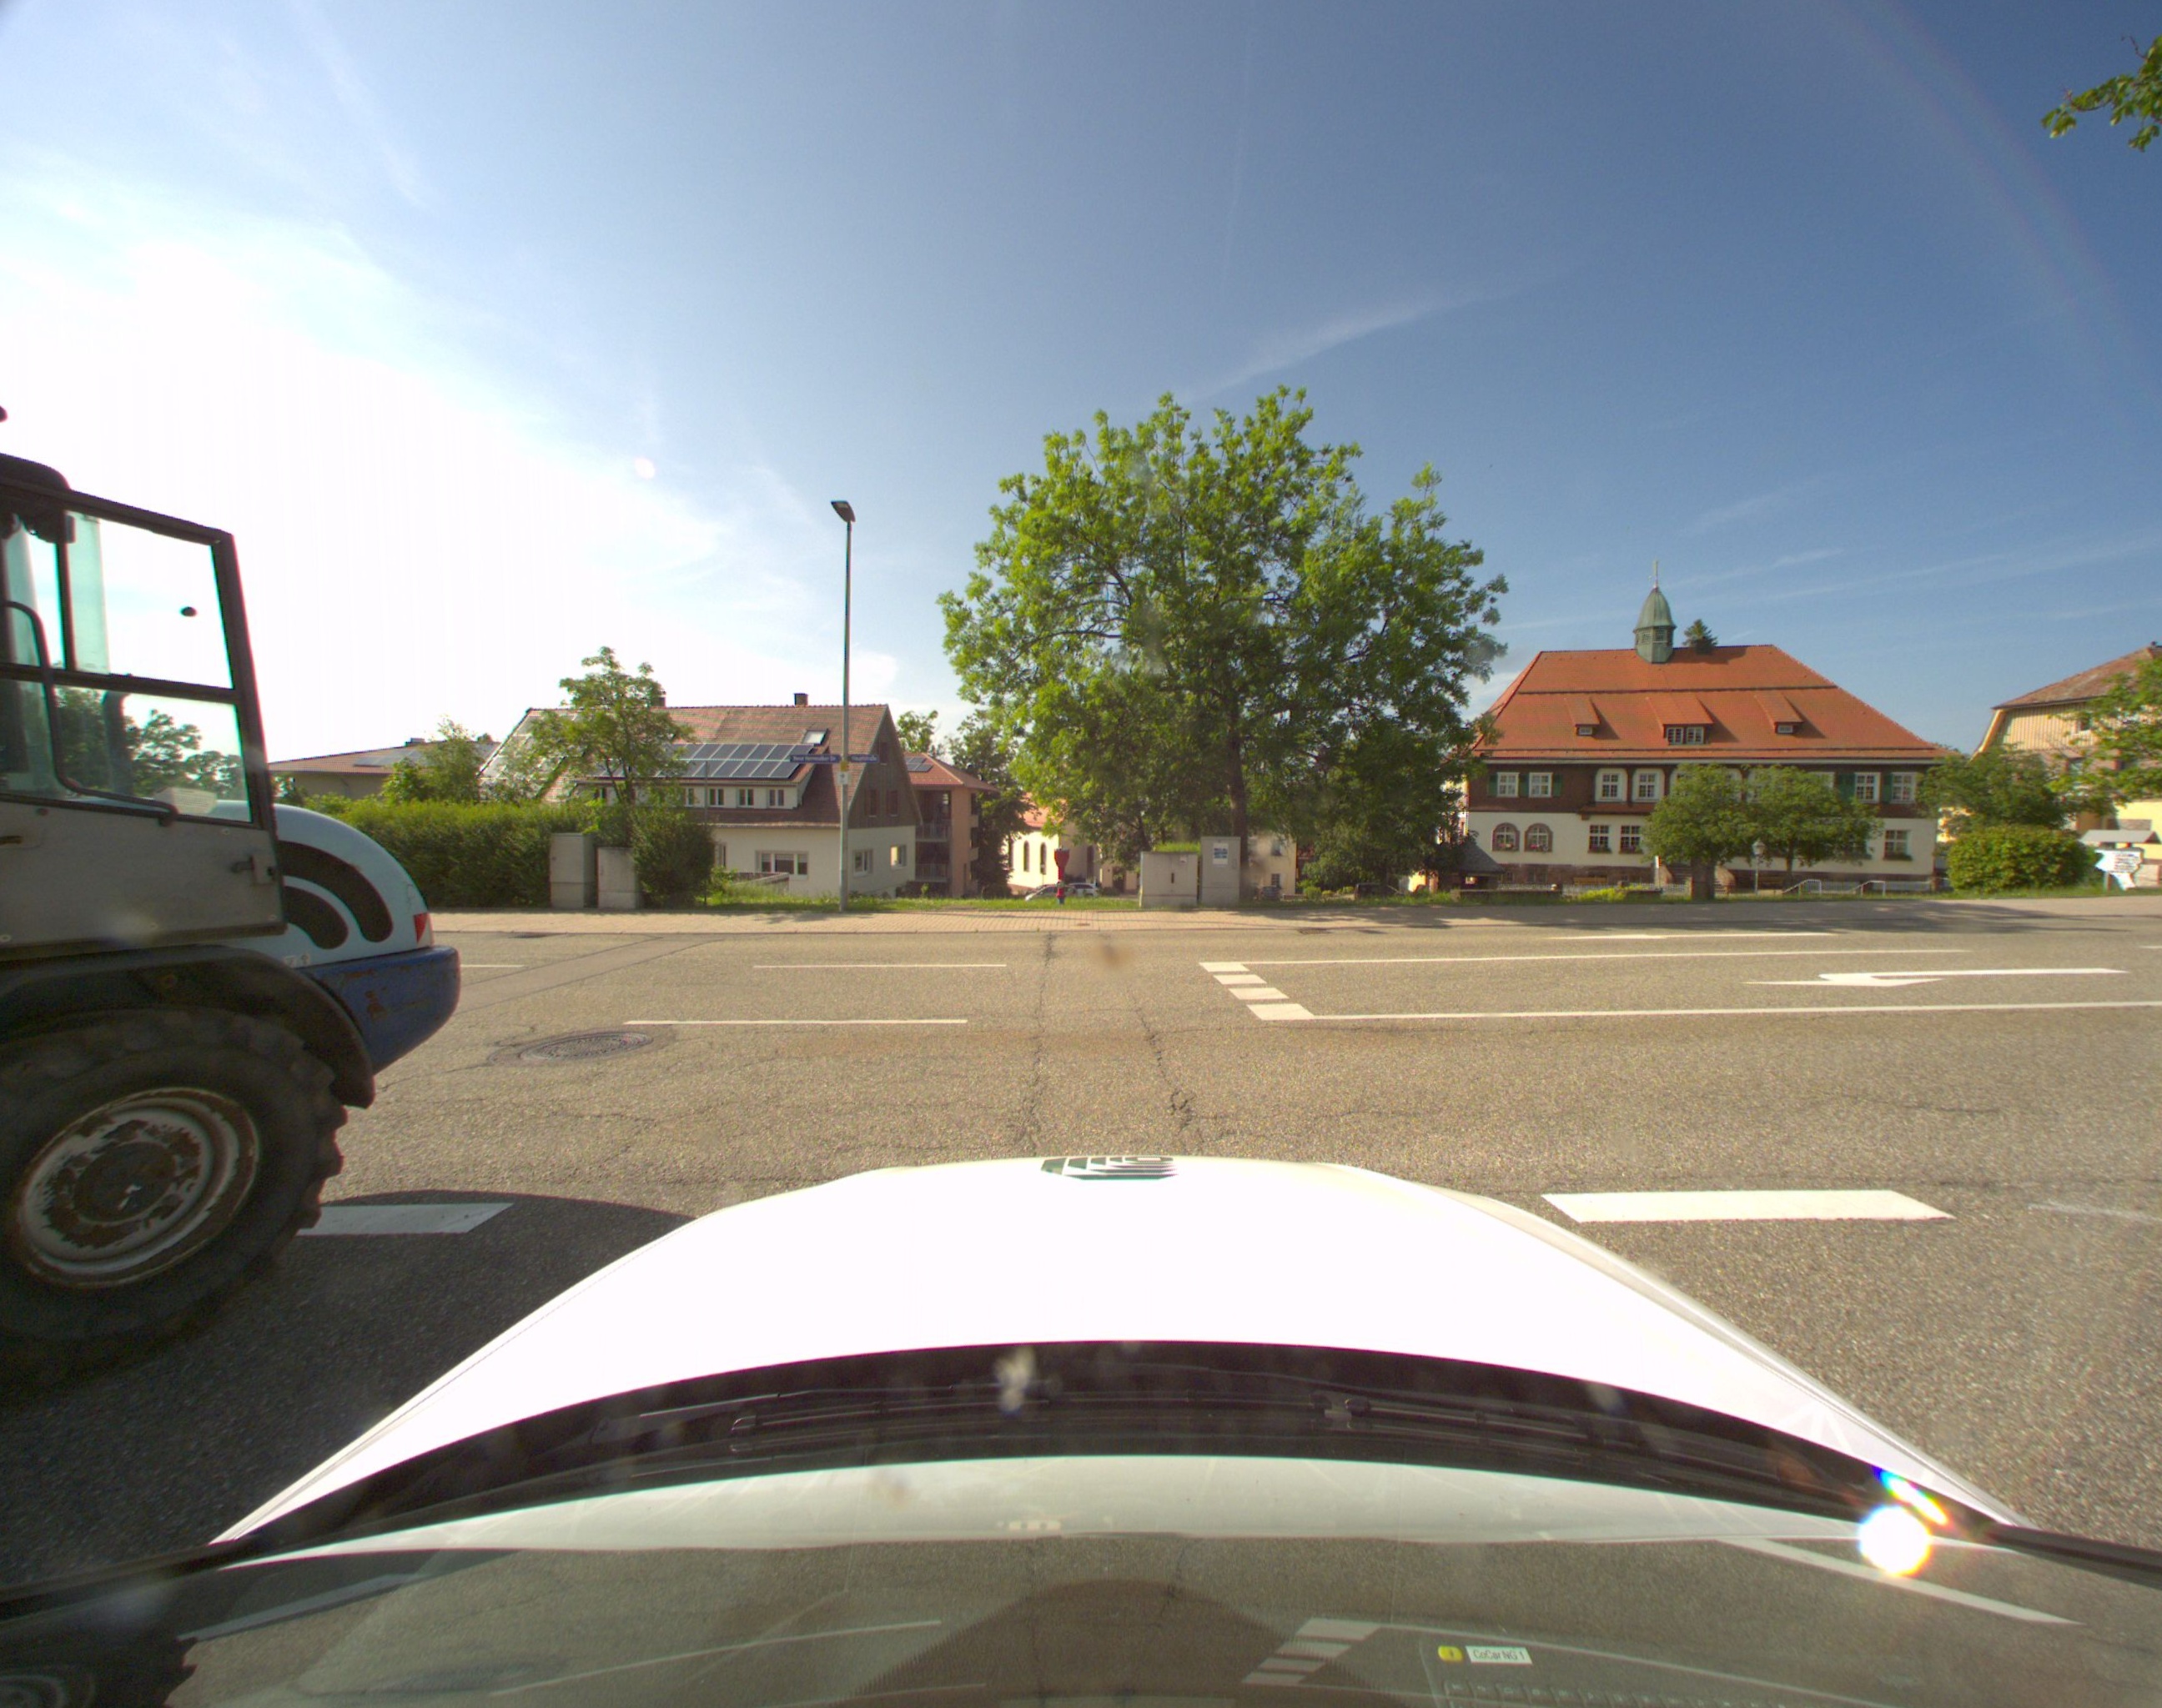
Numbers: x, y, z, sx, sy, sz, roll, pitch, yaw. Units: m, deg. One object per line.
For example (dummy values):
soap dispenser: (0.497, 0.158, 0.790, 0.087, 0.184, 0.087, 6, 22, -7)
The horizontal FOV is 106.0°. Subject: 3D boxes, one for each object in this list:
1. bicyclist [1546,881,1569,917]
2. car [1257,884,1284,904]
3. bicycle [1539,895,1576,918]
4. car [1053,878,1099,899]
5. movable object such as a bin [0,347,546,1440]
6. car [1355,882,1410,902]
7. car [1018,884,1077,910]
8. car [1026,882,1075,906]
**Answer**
bicyclist: (26.226, 2.456, 44.819, 0.987, 1.925, 0.584, -1, -1, 16)
car: (15.741, 3.298, 67.644, 1.699, 1.542, 3.791, -1, -1, 6)
bicycle: (26.213, 2.877, 44.816, 1.709, 1.190, 0.541, -1, -1, 16)
car: (-0.442, 2.898, 68.632, 3.765, 1.593, 1.711, -1, -1, -4)
movable object such as a bin: (-3.838, 0.115, 1.361, 1.982, 2.769, 5.116, -1, 1, 8)
car: (22.579, 2.822, 61.089, 3.746, 1.444, 1.720, -1, -1, 14)
car: (-2.387, 3.049, 57.822, 4.081, 1.758, 1.711, -1, -1, -3)
car: (-2.385, 3.119, 63.650, 3.765, 1.758, 1.711, -1, -1, -4)
